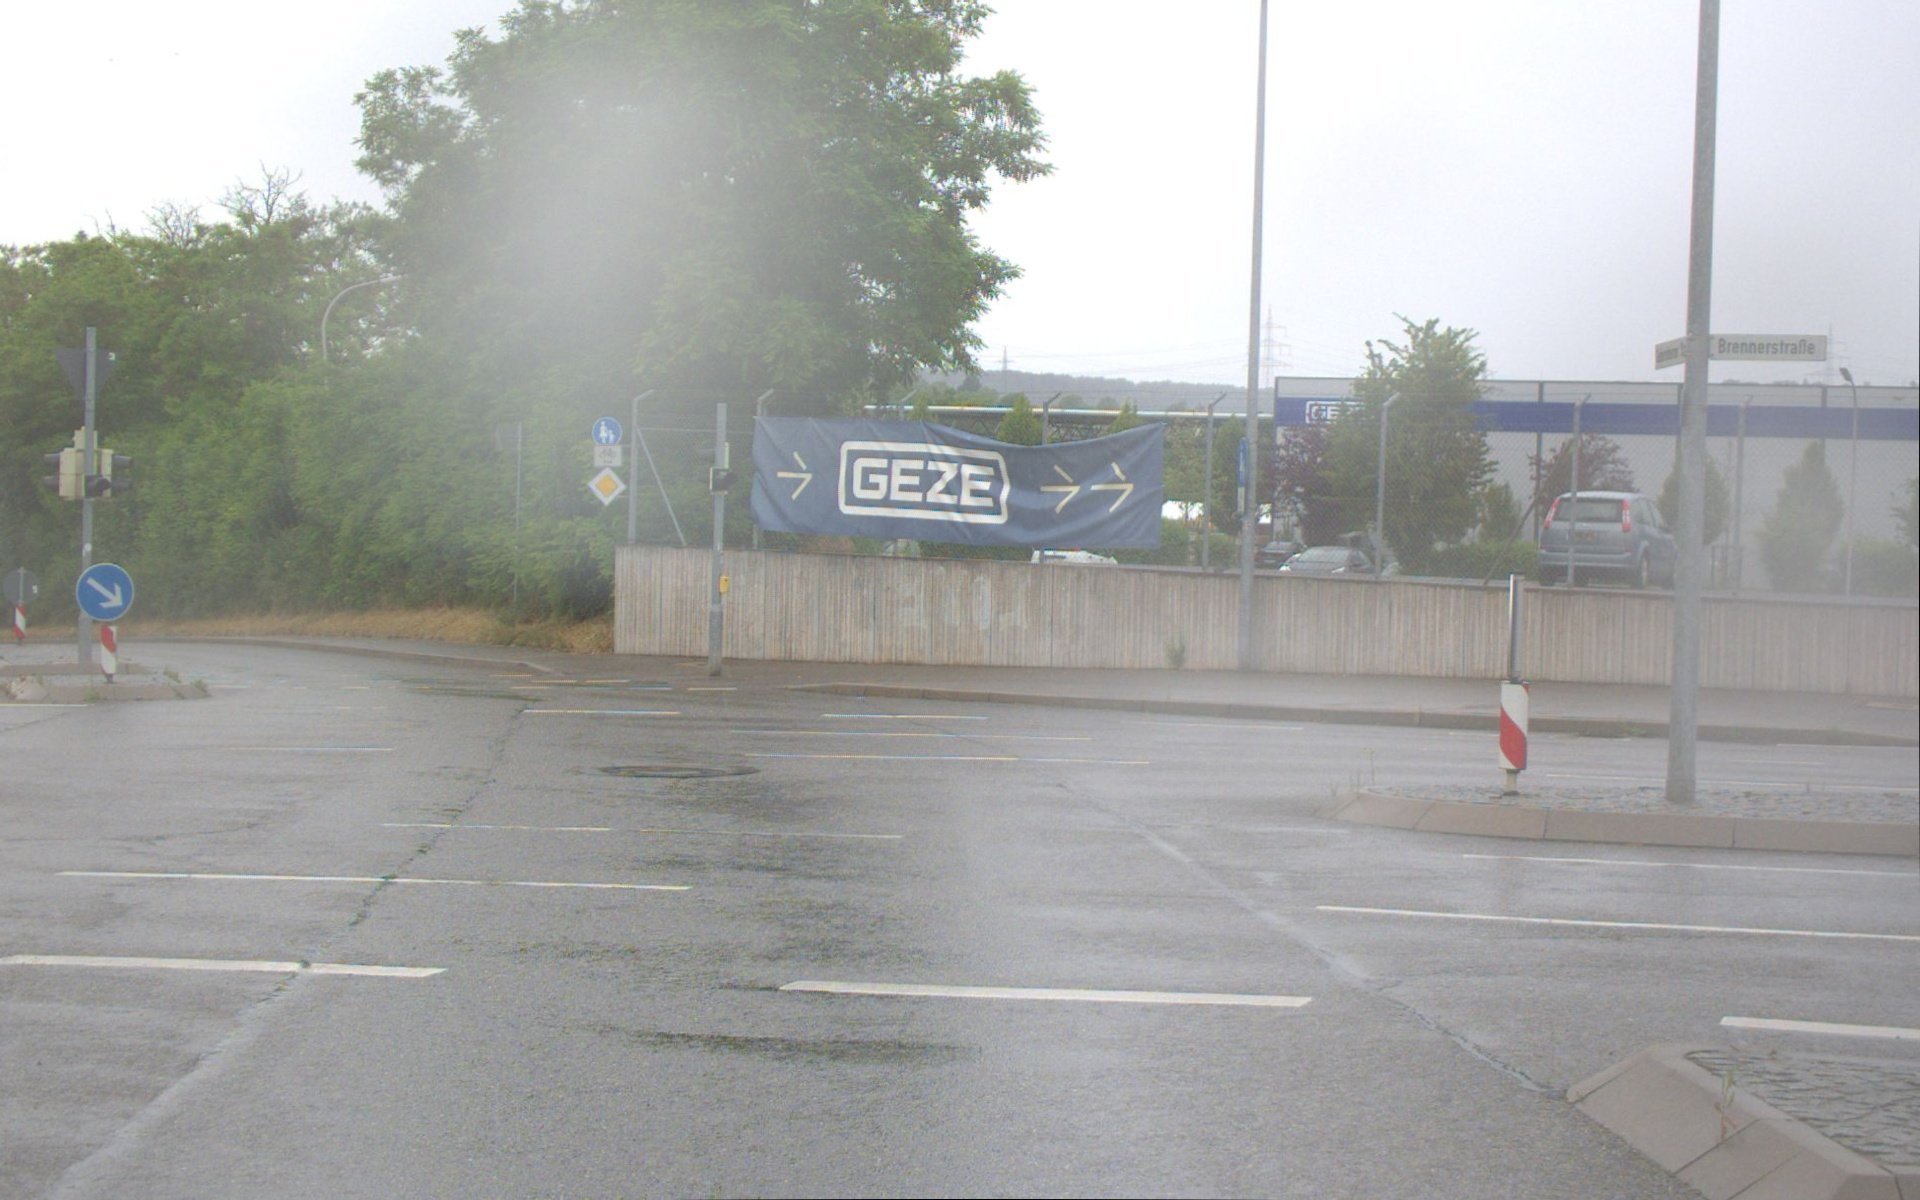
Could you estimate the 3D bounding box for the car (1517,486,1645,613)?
[{"bbox_3d":[10.447,-0.851,57.693,1.994,2.007,3.998,1,1,11],"label":"car"}]
